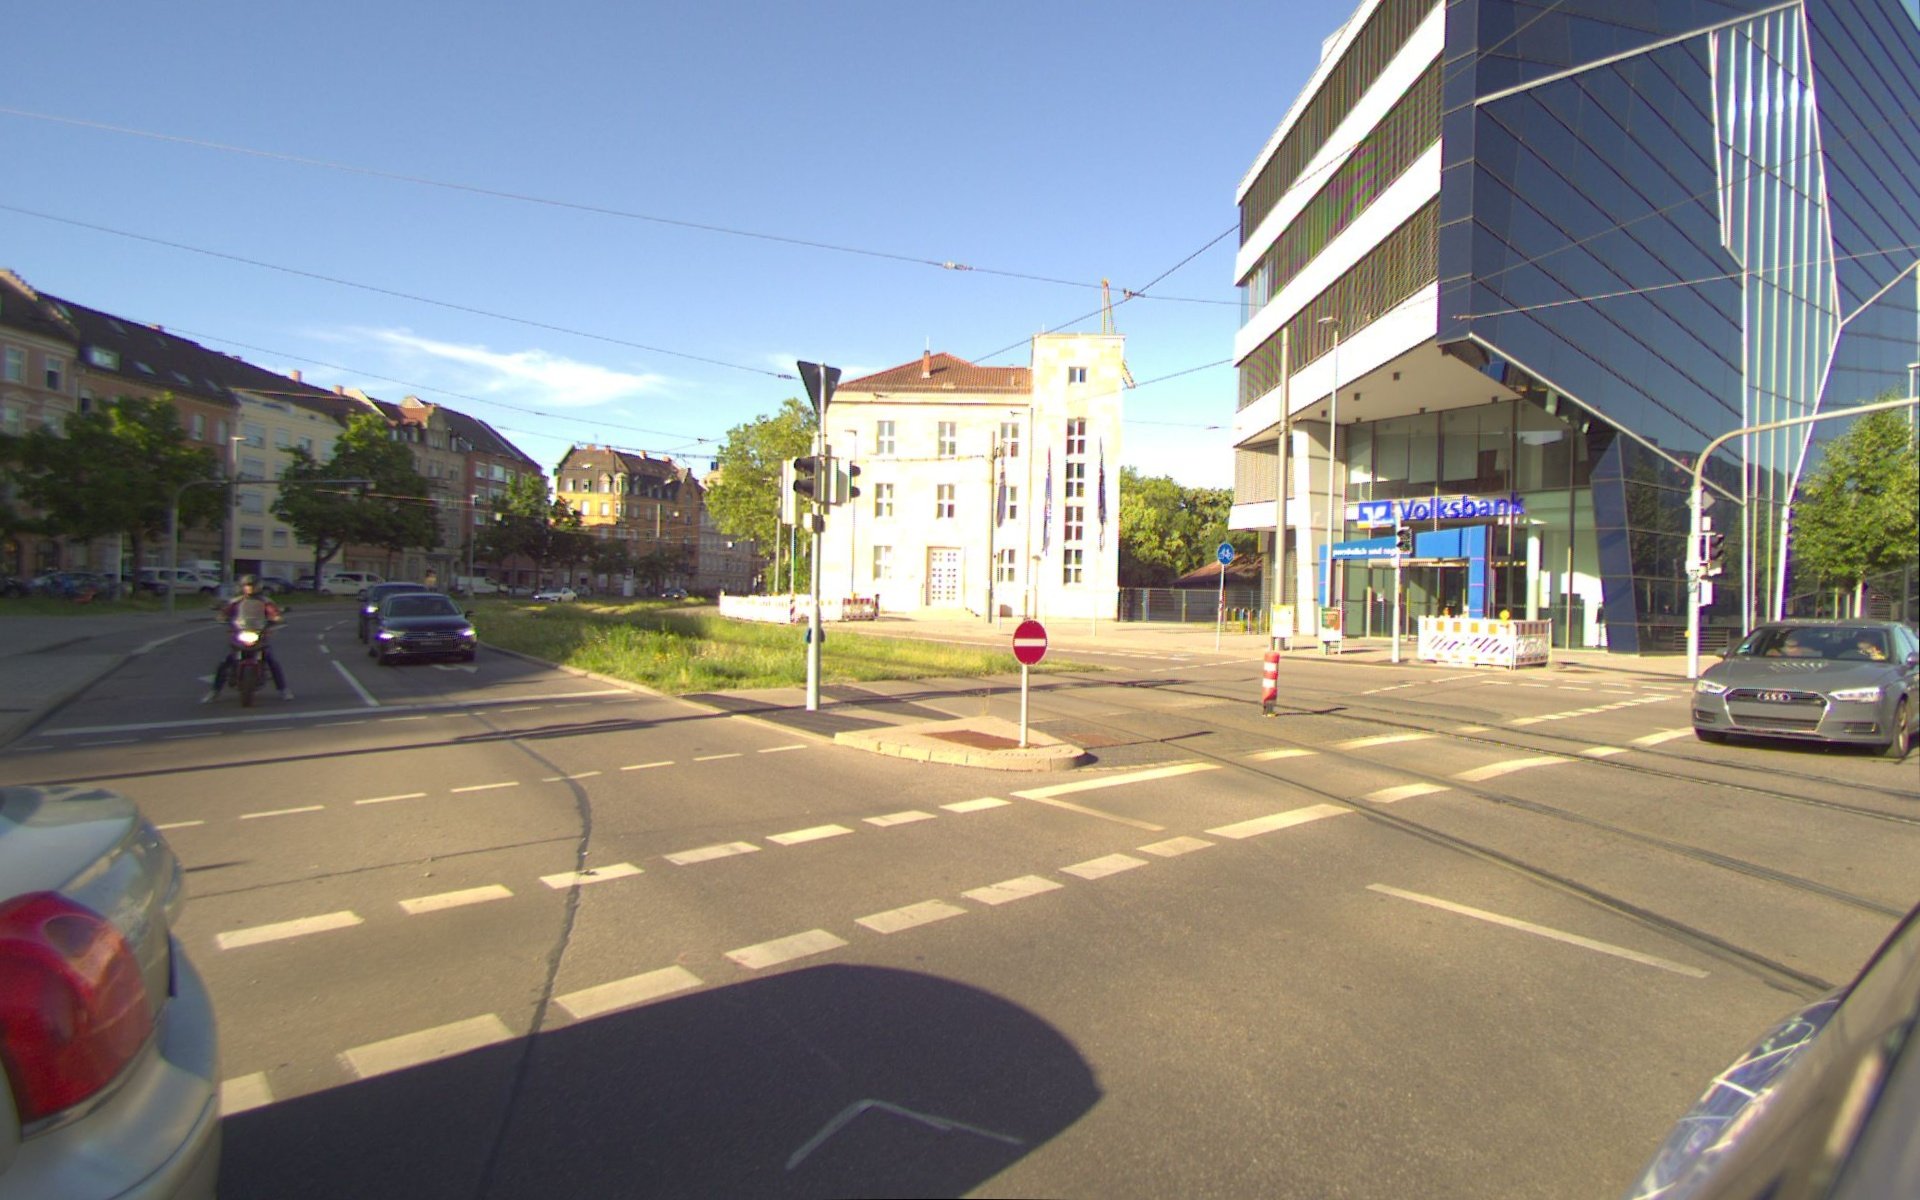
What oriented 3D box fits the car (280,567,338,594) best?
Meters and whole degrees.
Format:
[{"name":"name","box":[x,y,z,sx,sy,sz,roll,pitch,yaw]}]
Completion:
[{"name":"car","box":[-55.291,-1.612,86.035,1.967,2.217,3.991,1,0,8]}]

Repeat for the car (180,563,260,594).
[{"name":"car","box":[-46.285,-1.354,63.408,3.922,1.794,2.001,1,0,-34]}]

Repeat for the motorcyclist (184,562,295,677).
[{"name":"motorcyclist","box":[-9.919,0.258,13.941,1.150,1.500,0.927,2,-1,-39]}]

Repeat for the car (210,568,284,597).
[{"name":"car","box":[-47.075,-1.169,66.930,3.922,1.794,2.001,1,0,-34]}]

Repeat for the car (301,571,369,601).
[{"name":"car","box":[-46.050,-1.023,74.691,3.917,1.794,2.004,6,-2,-25]}]

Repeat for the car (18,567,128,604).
[{"name":"car","box":[-46.539,-0.741,53.205,3.917,1.799,2.004,1,0,-24]}]

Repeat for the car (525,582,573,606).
[{"name":"car","box":[-32.123,-0.461,79.291,1.963,1.728,3.995,0,-2,3]}]

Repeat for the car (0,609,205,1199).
[{"name":"car","box":[-3.283,0.731,0.500,4.546,1.500,1.749,2,-1,-40]}]

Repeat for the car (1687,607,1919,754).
[{"name":"car","box":[10.196,0.832,11.664,4.184,1.410,1.750,2,-2,-36]}]

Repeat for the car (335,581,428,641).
[{"name":"car","box":[-17.326,0.329,30.203,1.962,1.639,4.541,1,-1,-35]}]

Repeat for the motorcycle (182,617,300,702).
[{"name":"motorcycle","box":[-9.960,0.775,13.969,1.150,1.013,2.458,2,-1,-39]}]

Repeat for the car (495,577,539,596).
[{"name":"car","box":[-45.202,-1.390,103.247,3.919,1.794,2.003,1,0,-29]}]

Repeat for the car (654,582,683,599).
[{"name":"car","box":[-31.161,-1.001,108.241,1.962,1.727,4.001,0,2,0]}]

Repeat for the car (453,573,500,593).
[{"name":"car","box":[-46.078,-1.585,96.518,3.919,1.794,2.003,1,0,-29]}]

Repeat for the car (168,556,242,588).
[{"name":"car","box":[-55.283,-1.988,74.217,1.967,2.217,4.180,1,0,8]}]

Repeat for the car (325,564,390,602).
[{"name":"car","box":[-46.711,-1.291,78.528,3.917,2.437,2.004,7,-2,-25]}]

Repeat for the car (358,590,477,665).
[{"name":"car","box":[-11.765,0.505,21.812,1.737,1.418,4.254,-2,1,-35]}]

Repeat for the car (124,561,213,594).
[{"name":"car","box":[-46.345,-1.282,59.362,3.922,1.794,2.001,1,0,-34]}]
